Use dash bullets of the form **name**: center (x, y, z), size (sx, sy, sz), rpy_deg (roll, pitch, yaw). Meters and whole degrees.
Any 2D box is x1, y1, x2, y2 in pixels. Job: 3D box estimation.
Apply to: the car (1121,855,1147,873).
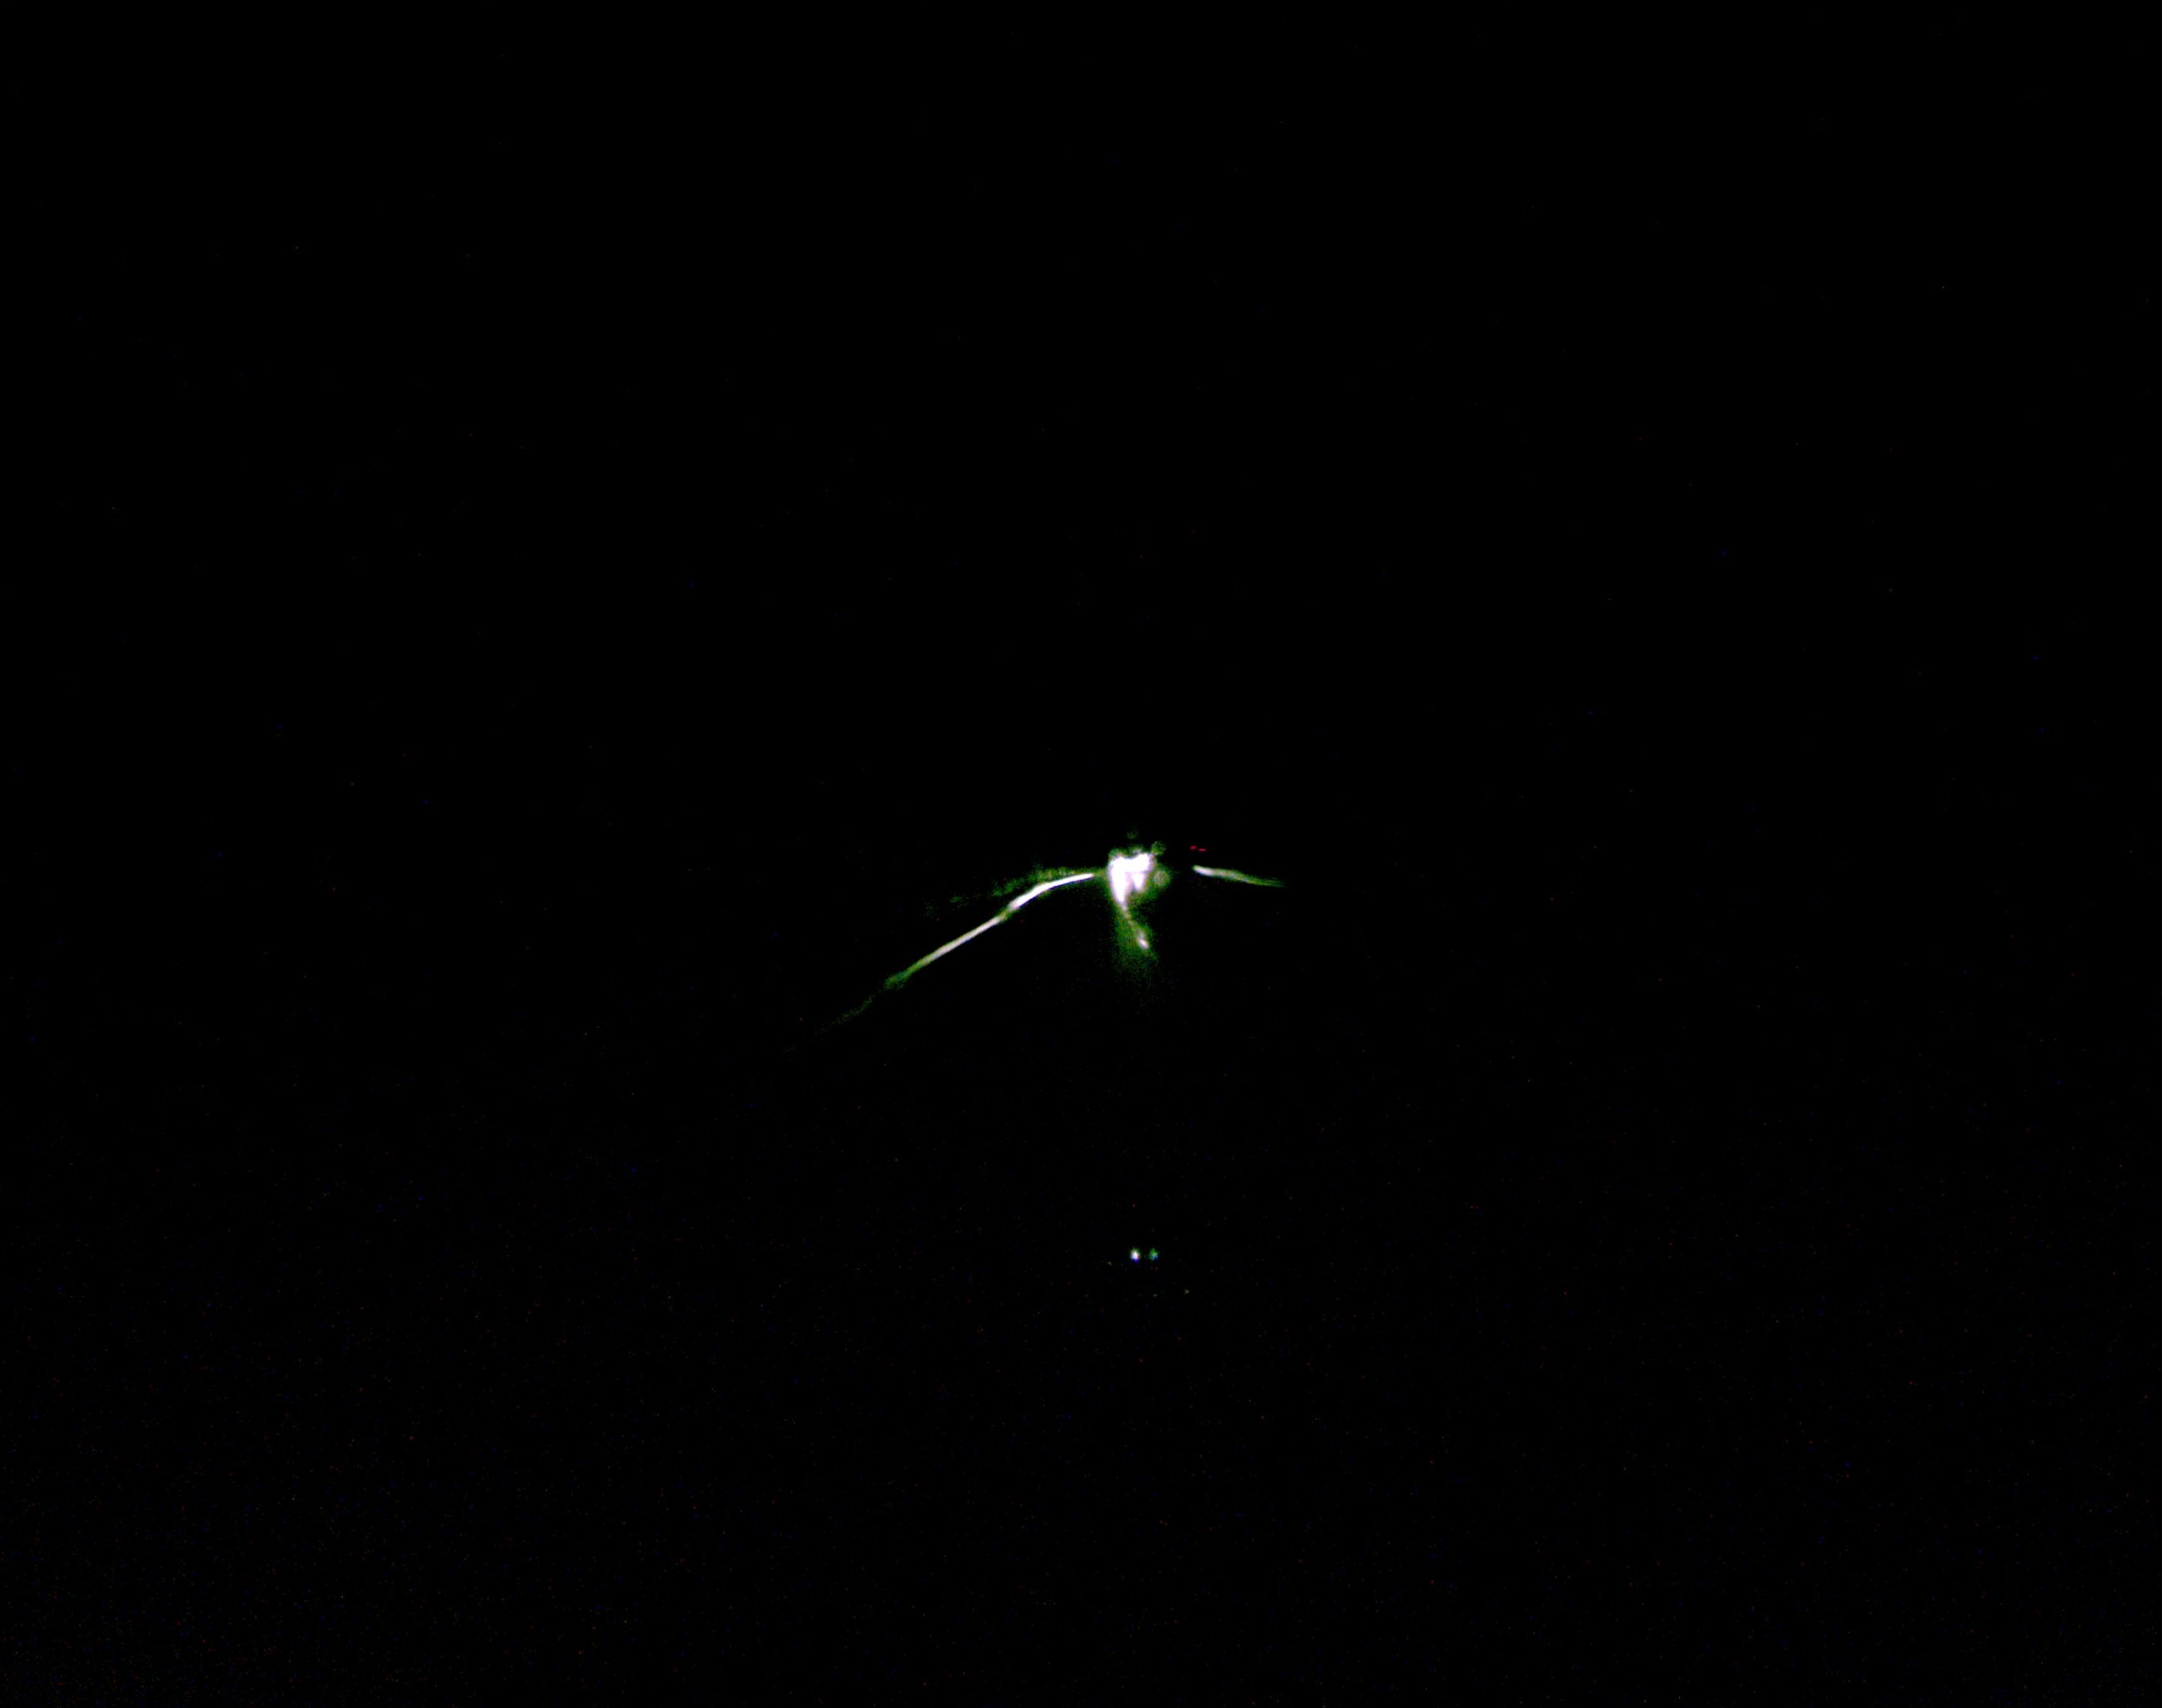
- **car**: center (4.490, 0.822, 64.368), size (1.775, 1.444, 4.139), rpy_deg (-2, -1, 9)
